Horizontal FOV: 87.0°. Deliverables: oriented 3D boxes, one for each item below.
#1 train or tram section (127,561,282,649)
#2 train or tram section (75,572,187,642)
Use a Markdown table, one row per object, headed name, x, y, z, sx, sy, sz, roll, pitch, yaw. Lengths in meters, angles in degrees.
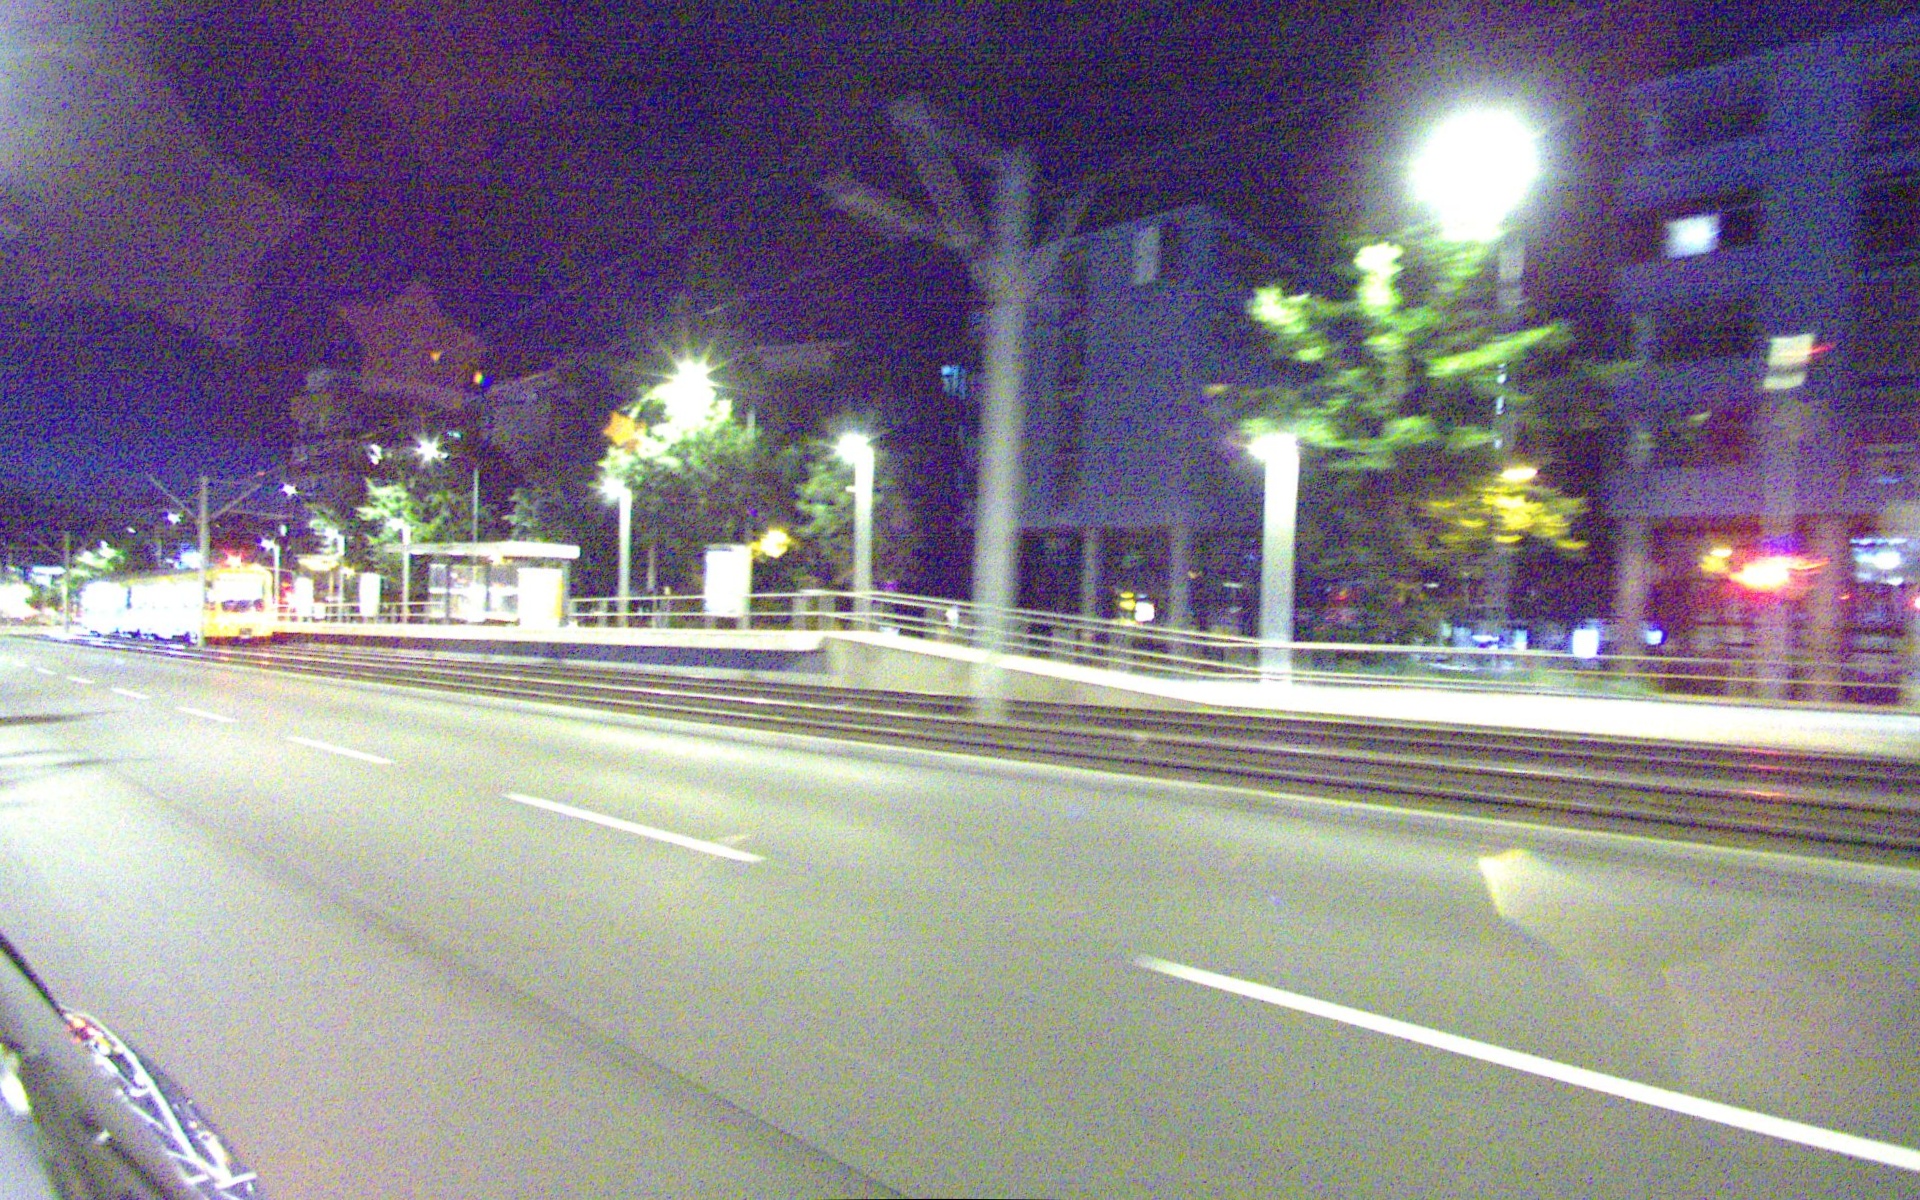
| name | x | y | z | sx | sy | sz | roll | pitch | yaw |
| --- | --- | --- | --- | --- | --- | --- | --- | --- | --- |
| train or tram section | -38.795 | 0.300 | 51.414 | 18.665 | 3.856 | 2.729 | -1 | 0 | 42 |
| train or tram section | -52.874 | 0.472 | 64.174 | 19.359 | 3.875 | 2.709 | -1 | 0 | 42 |
